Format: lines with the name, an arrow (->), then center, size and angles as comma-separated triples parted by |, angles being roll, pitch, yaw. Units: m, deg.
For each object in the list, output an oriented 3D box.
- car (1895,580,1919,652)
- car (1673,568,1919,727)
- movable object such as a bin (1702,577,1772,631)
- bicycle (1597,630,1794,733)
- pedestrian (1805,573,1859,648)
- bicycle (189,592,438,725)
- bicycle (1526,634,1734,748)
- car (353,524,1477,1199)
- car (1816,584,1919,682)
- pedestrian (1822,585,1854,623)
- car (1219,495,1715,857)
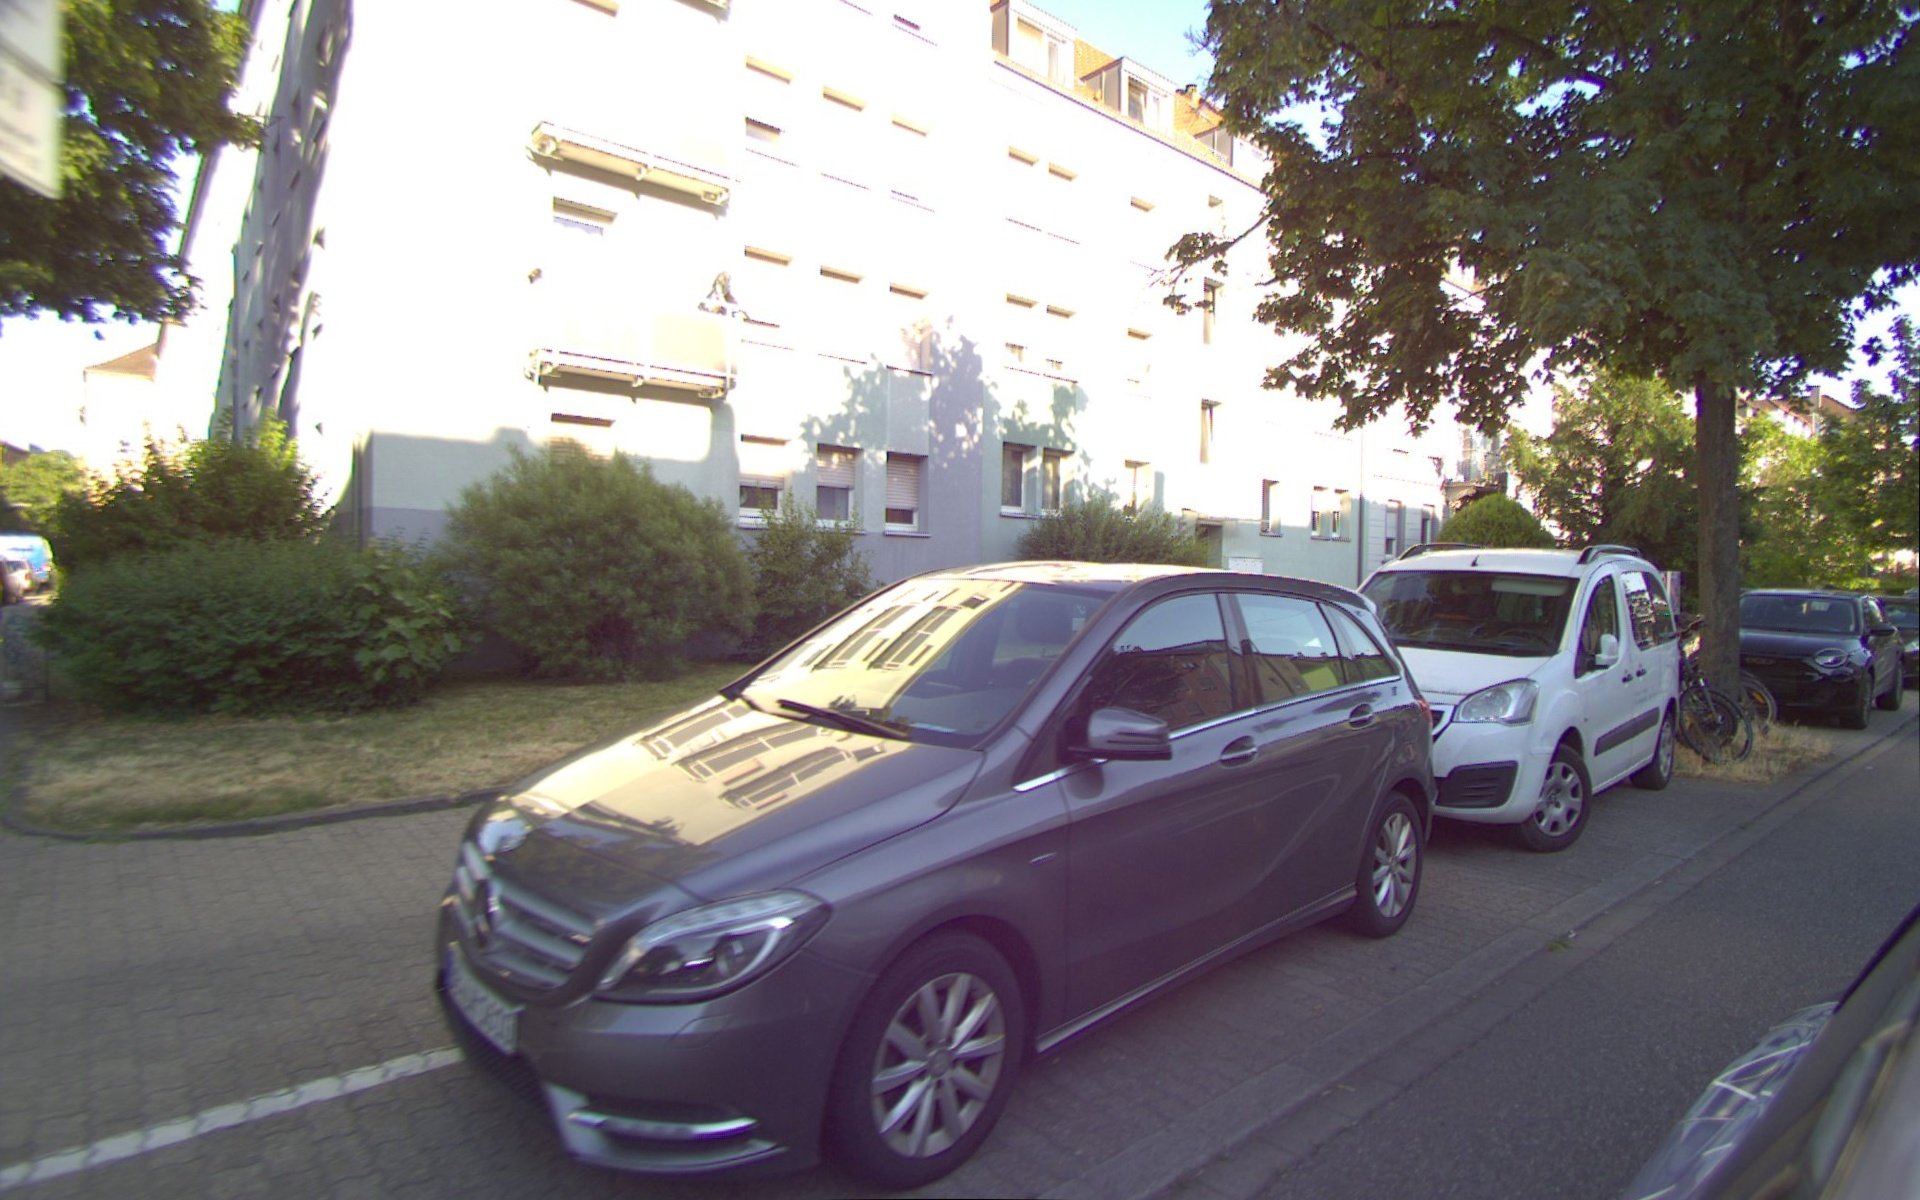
car -> 23.344, 0.360, 23.687 | 4.025, 1.621, 1.721 | -1, 2, -41
car -> 10.782, 0.468, 12.851 | 4.176, 1.683, 1.758 | -1, 2, -39
movable object such as a bin -> 23.421, 0.116, 30.503 | 1.116, 1.510, 1.273 | 0, 4, -31
bicycle -> 7.429, 0.793, 10.281 | 0.387, 0.880, 1.554 | 0, 2, -43
pedestrian -> 20.488, 0.222, 23.774 | 0.792, 1.721, 0.790 | -1, 1, -36
bicycle -> -5.197, 0.429, 8.207 | 1.651, 0.956, 0.476 | -1, 2, -42
bicycle -> 6.157, 0.805, 9.358 | 1.551, 0.880, 0.387 | 2, 2, 41
car -> 0.250, 0.583, 3.899 | 4.181, 1.575, 1.757 | -1, 4, -43
car -> 16.135, 0.499, 17.358 | 3.890, 1.484, 1.616 | -1, 3, -41
pedestrian -> 29.432, 0.127, 33.919 | 0.777, 1.250, 0.674 | -1, 1, -40
car -> 3.845, 0.357, 7.269 | 4.350, 1.831, 1.802 | -1, 0, -43
